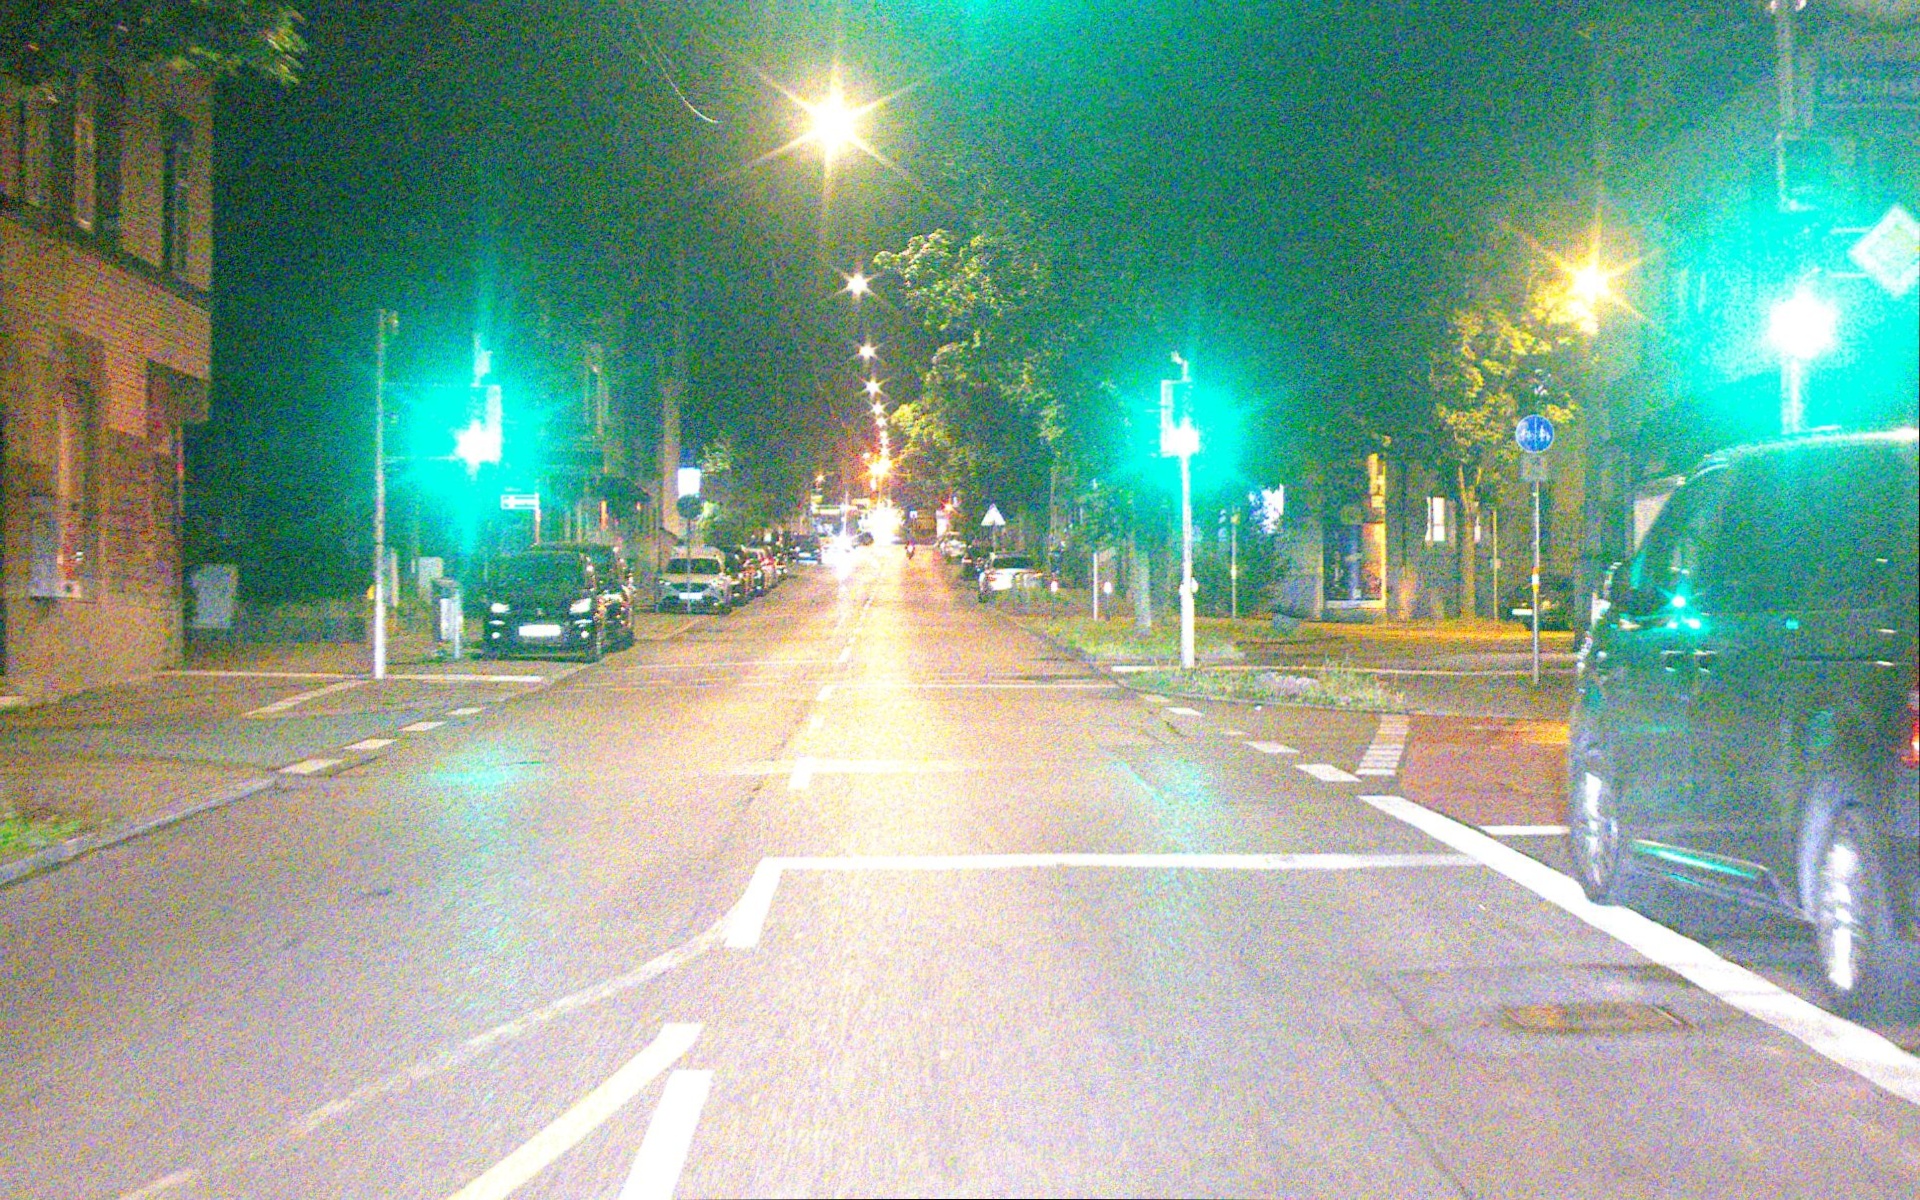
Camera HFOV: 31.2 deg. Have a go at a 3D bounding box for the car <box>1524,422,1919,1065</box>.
[{"bbox_3d":[3.499,0.366,12.229,1.910,1.820,4.901,0,1,-3],"label":"car"}]

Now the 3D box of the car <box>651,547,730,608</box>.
[{"bbox_3d":[-6.741,-0.589,86.340,1.814,1.479,4.348,0,1,-2],"label":"car"}]

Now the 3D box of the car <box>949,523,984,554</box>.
[{"bbox_3d":[0.355,-3.373,187.109,1.812,1.588,4.274,-1,2,-1],"label":"car"}]

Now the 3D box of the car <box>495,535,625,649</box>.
[{"bbox_3d":[-6.295,-0.161,54.470,1.848,1.644,4.672,1,2,-4],"label":"car"}]

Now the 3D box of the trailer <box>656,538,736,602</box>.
[{"bbox_3d":[-6.973,-0.794,90.993,1.638,1.634,3.439,1,1,4],"label":"trailer"}]

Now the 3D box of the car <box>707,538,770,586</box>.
[{"bbox_3d":[-7.116,-1.214,110.699,1.863,1.486,4.281,1,1,-2],"label":"car"}]

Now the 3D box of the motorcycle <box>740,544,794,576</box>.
[{"bbox_3d":[-7.142,-1.495,127.241,0.714,1.143,2.208,-2,2,-43],"label":"motorcycle"}]

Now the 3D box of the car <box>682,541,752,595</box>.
[{"bbox_3d":[-6.825,-0.920,96.953,1.835,1.442,4.545,0,2,-2],"label":"car"}]

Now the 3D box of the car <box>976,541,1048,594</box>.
[{"bbox_3d":[1.487,-0.945,99.834,1.845,1.412,4.646,-3,1,-2],"label":"car"}]

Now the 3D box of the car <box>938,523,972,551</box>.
[{"bbox_3d":[-0.310,-3.695,200.467,1.868,1.521,4.150,-1,2,-1],"label":"car"}]

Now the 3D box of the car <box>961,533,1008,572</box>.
[{"bbox_3d":[0.980,-1.917,138.319,1.763,1.471,4.081,-1,2,-1],"label":"car"}]

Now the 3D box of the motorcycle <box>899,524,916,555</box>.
[{"bbox_3d":[-3.034,-3.455,197.188,0.931,1.746,2.625,1,0,-1],"label":"motorcycle"}]

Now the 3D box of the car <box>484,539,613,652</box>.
[{"bbox_3d":[-5.812,-0.081,48.807,1.647,1.509,3.703,1,1,-5],"label":"car"}]

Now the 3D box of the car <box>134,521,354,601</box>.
[{"bbox_3d":[-14.641,-0.798,70.340,3.988,1.420,1.761,3,1,9],"label":"car"}]

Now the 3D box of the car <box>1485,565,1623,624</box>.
[{"bbox_3d":[14.681,-0.134,84.841,1.800,1.412,3.829,1,1,37],"label":"car"}]

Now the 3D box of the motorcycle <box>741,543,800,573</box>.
[{"bbox_3d":[-7.126,-1.578,129.259,2.206,1.127,0.714,1,2,32],"label":"motorcycle"}]

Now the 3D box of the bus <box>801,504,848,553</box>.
[{"bbox_3d":[-8.975,-4.792,228.363,2.837,3.166,10.499,1,2,-1],"label":"bus"}]

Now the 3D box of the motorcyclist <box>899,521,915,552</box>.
[{"bbox_3d":[-3.033,-3.658,197.188,0.848,1.746,0.805,1,0,-1],"label":"motorcyclist"}]
